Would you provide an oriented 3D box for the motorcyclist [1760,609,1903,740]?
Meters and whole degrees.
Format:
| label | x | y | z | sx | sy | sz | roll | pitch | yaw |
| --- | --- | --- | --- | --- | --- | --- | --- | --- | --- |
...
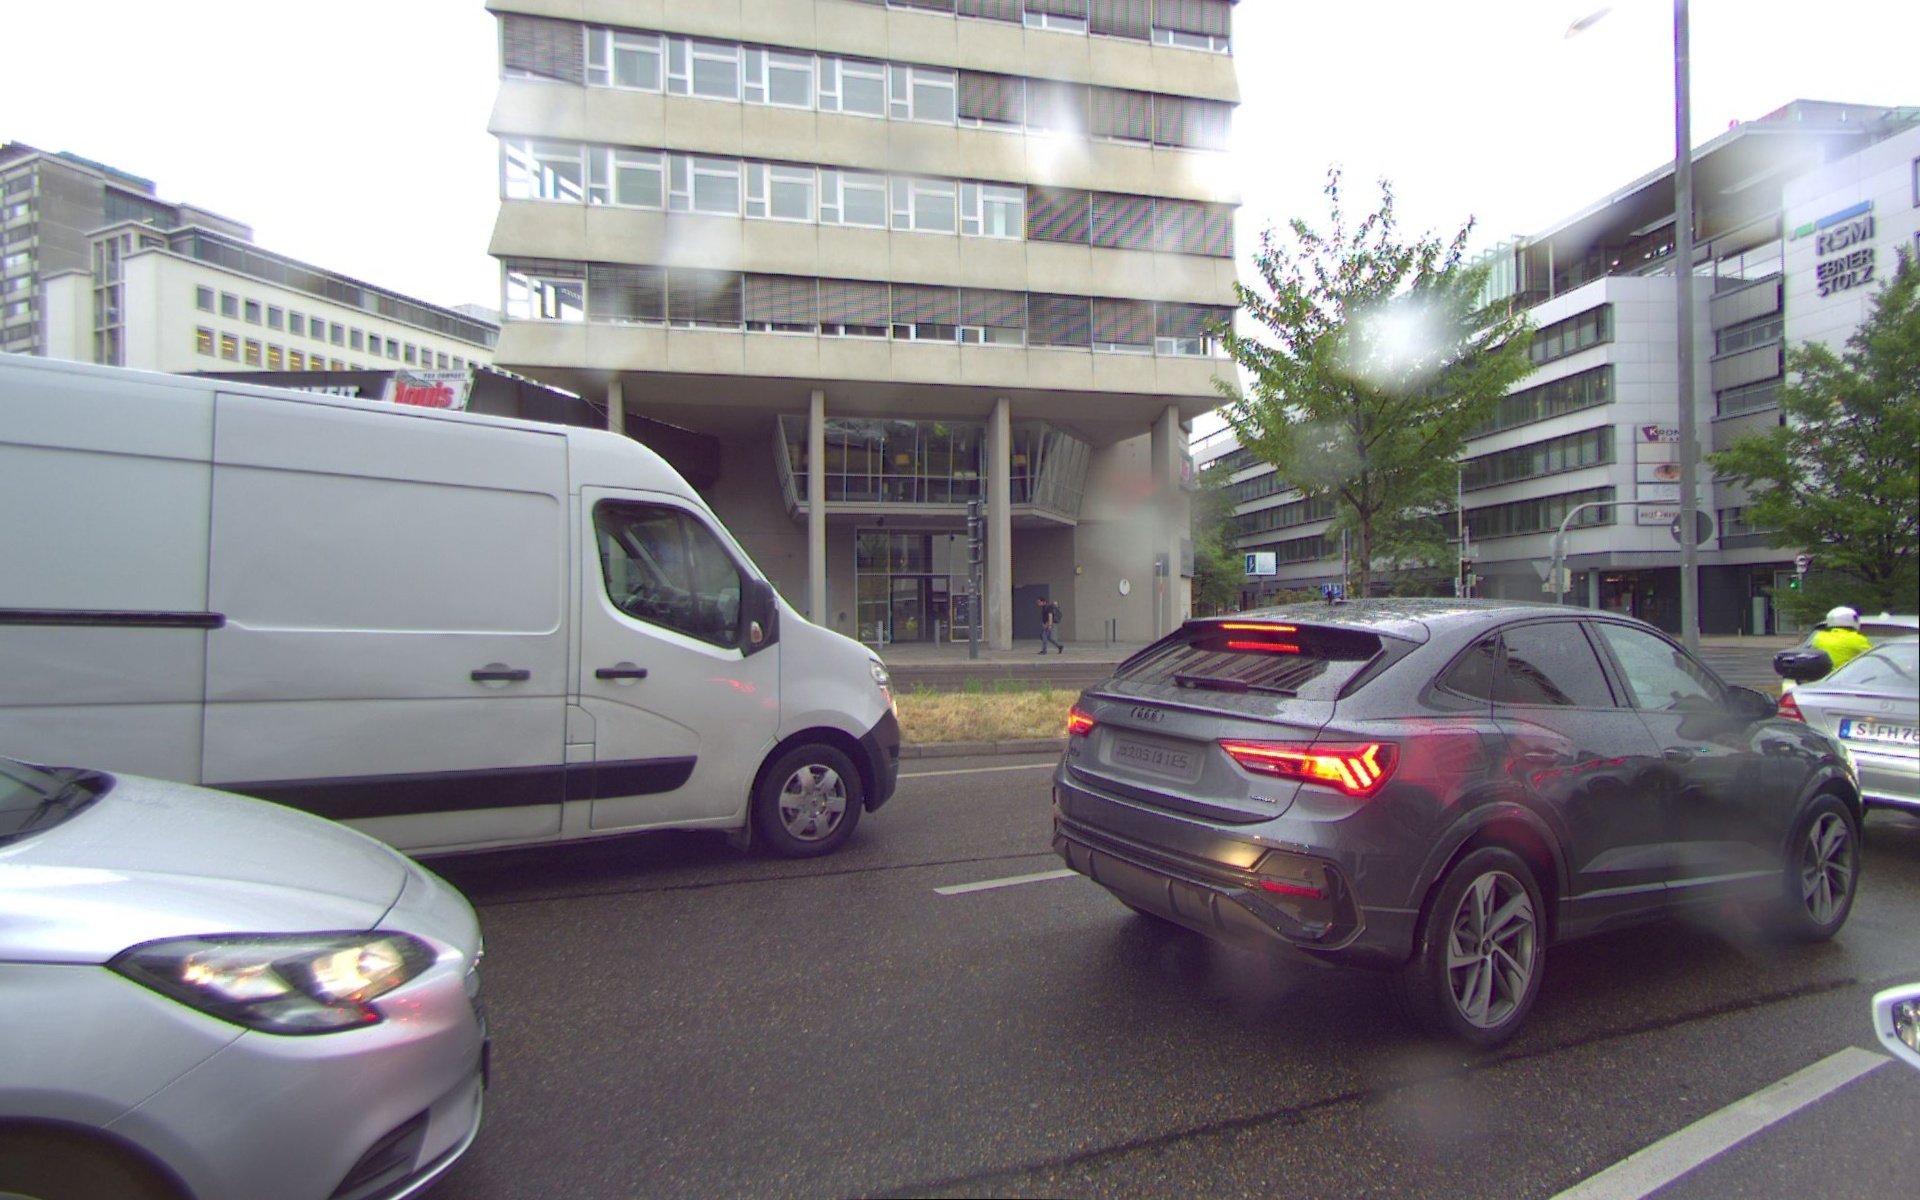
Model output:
| label | x | y | z | sx | sy | sz | roll | pitch | yaw |
| --- | --- | --- | --- | --- | --- | --- | --- | --- | --- |
| motorcyclist | 9.863 | 0.822 | 11.378 | 1.101 | 1.398 | 0.769 | 2 | 0 | -21 |

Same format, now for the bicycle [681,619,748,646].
| label | x | y | z | sx | sy | sz | roll | pitch | yaw |
| --- | --- | --- | --- | --- | --- | --- | --- | --- | --- |
| bicycle | -8.353 | 1.105 | 34.198 | 2.165 | 0.871 | 0.456 | 2 | 0 | -31 |

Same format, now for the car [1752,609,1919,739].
| label | x | y | z | sx | sy | sz | roll | pitch | yaw |
| --- | --- | --- | --- | --- | --- | --- | --- | --- | --- |
| car | 12.661 | 0.928 | 13.228 | 3.940 | 1.506 | 1.704 | 2 | 0 | -20 |

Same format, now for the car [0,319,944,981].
| label | x | y | z | sx | sy | sz | roll | pitch | yaw |
| --- | --- | --- | --- | --- | --- | --- | --- | --- | --- |
| car | -2.873 | 0.204 | 5.444 | 5.425 | 2.473 | 1.933 | 1 | 0 | -35 |

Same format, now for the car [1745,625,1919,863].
| label | x | y | z | sx | sy | sz | roll | pitch | yaw |
| --- | --- | --- | --- | --- | --- | --- | --- | --- | --- |
| car | 7.663 | 0.948 | 7.081 | 4.050 | 1.426 | 1.567 | 2 | 0 | -23 |

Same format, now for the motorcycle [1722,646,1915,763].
| label | x | y | z | sx | sy | sz | roll | pitch | yaw |
| --- | --- | --- | --- | --- | --- | --- | --- | --- | --- |
| motorcycle | 9.750 | 1.159 | 11.405 | 1.998 | 1.200 | 0.799 | 2 | 0 | -21 |

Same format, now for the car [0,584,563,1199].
| label | x | y | z | sx | sy | sz | roll | pitch | yaw |
| --- | --- | --- | --- | --- | --- | --- | --- | --- | --- |
| car | -2.850 | 0.680 | 1.709 | 3.831 | 1.455 | 1.639 | 1 | 0 | -32 |

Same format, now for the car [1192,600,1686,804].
| label | x | y | z | sx | sy | sz | roll | pitch | yaw |
| --- | --- | --- | --- | --- | --- | --- | --- | --- | --- |
| car | 4.684 | 0.821 | 9.672 | 4.717 | 1.554 | 1.858 | 1 | 0 | -28 |

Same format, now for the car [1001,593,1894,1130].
| label | x | y | z | sx | sy | sz | roll | pitch | yaw |
| --- | --- | --- | --- | --- | --- | --- | --- | --- | --- |
| car | 2.412 | 0.778 | 4.663 | 4.220 | 1.542 | 1.640 | 1 | 0 | -30 |

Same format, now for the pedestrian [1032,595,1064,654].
| label | x | y | z | sx | sy | sz | roll | pitch | yaw |
| --- | --- | --- | --- | --- | --- | --- | --- | --- | --- |
| pedestrian | 2.609 | 0.727 | 29.764 | 0.751 | 1.706 | 0.677 | 1 | 0 | -16 |
